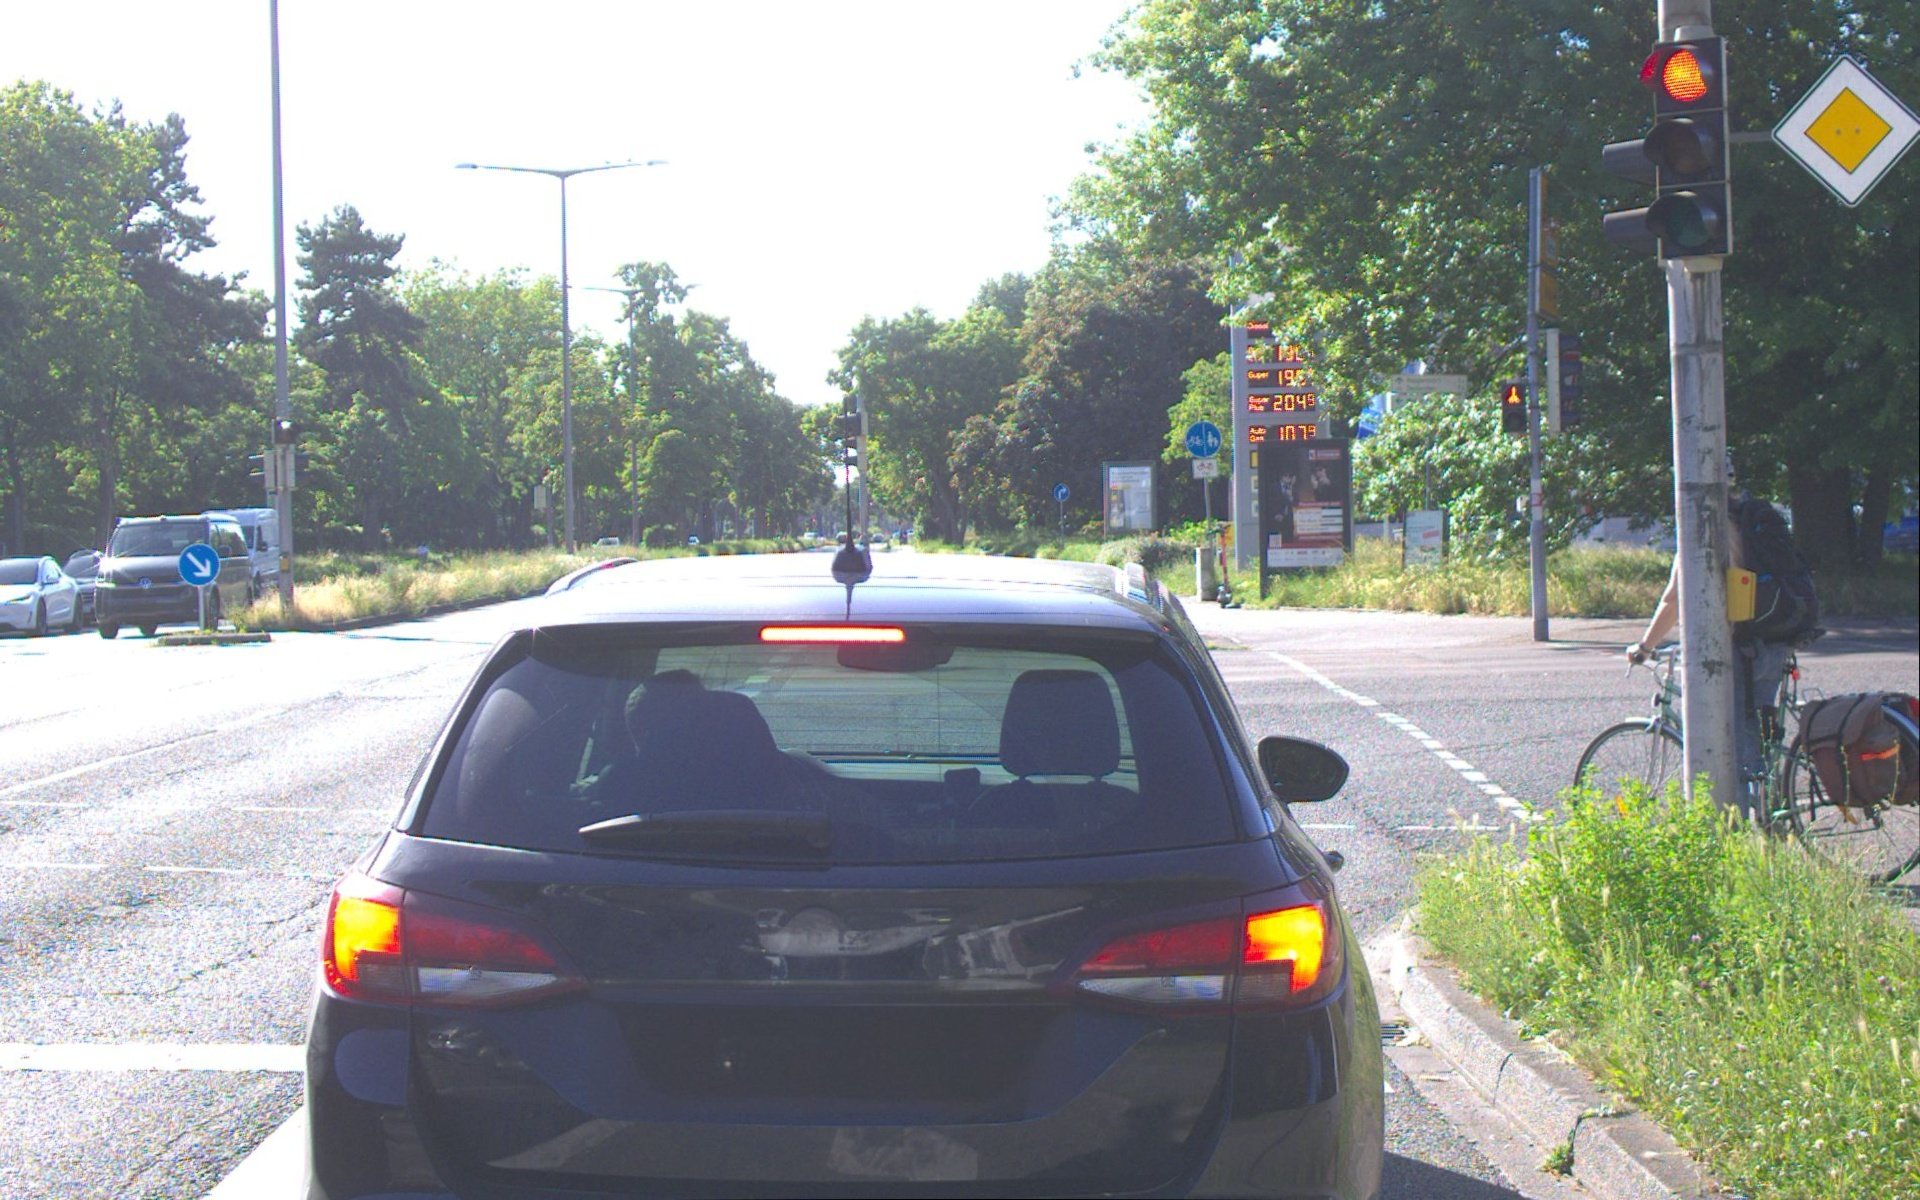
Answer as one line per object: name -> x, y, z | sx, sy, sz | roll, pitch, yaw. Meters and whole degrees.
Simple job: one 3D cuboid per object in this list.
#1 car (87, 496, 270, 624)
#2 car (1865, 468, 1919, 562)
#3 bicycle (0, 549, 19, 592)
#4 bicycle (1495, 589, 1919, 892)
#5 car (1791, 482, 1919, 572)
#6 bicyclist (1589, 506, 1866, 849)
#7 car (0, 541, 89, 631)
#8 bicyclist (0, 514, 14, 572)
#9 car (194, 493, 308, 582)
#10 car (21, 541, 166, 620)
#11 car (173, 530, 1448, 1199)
car -> -12.924, -0.689, 57.159 | 1.911, 1.985, 5.016 | -1, 1, -1
car -> 17.093, -1.437, 56.723 | 3.887, 1.512, 1.746 | -2, 1, -23
bicycle -> -27.799, -0.848, 99.035 | 0.875, 1.208, 2.537 | -2, 1, -5
bicycle -> 2.981, 0.540, 13.339 | 0.536, 1.094, 1.775 | -3, 0, -44
car -> 16.617, -1.295, 59.808 | 3.887, 1.512, 1.746 | -2, 1, -23
bicyclist -> 2.973, 0.299, 13.337 | 0.536, 1.272, 0.829 | -3, 0, -44
car -> -17.000, -0.261, 61.119 | 1.888, 1.519, 4.504 | -1, 1, -1
bicyclist -> -27.823, -1.626, 99.013 | 0.875, 1.643, 1.200 | -2, 1, -5
car -> -20.771, -1.855, 100.917 | 2.100, 2.484, 6.004 | -2, 1, -1
car -> -16.890, -0.414, 67.196 | 1.686, 1.428, 4.615 | -2, 1, -1
car -> -0.230, 0.625, 6.852 | 1.756, 1.490, 4.207 | 0, 1, -1
